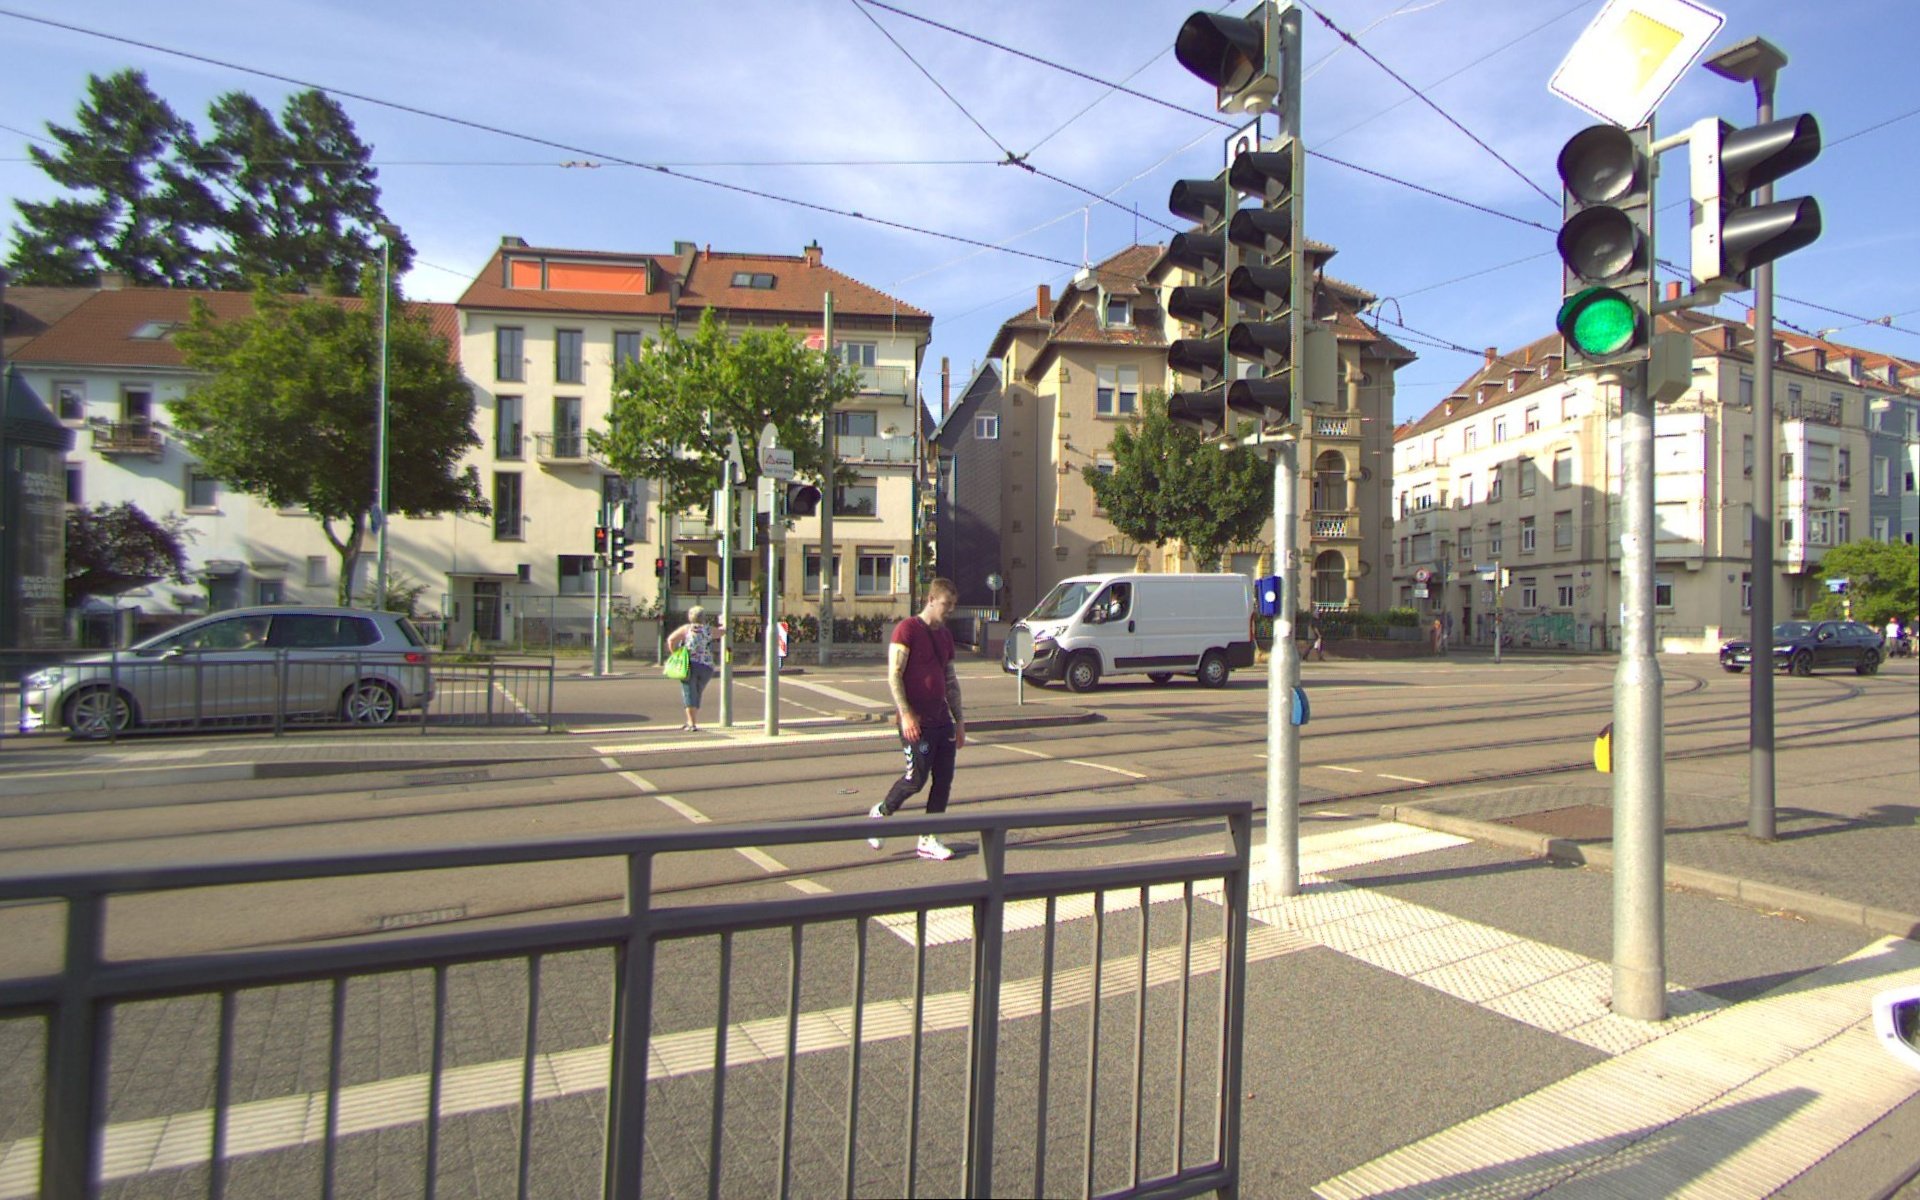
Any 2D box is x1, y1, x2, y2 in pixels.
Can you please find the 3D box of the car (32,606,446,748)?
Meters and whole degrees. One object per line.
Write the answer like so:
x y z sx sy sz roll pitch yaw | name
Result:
-8.933 0.864 12.881 4.077 1.546 1.668 0 -1 -31 | car

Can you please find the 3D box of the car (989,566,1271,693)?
3.361 0.562 19.884 5.177 2.269 2.173 1 -1 -22 | car

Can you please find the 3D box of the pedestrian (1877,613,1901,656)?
40.974 1.519 44.307 0.618 1.906 0.582 1 -1 -27 | pedestrian

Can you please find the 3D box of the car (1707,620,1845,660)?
31.954 1.539 39.484 3.929 1.476 1.797 0 -1 30 | car

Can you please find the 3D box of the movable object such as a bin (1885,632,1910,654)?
41.616 1.923 44.603 0.653 0.959 0.582 1 -1 -21 | movable object such as a bin

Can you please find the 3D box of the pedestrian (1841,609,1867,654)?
38.849 1.366 43.638 0.618 1.906 0.656 1 -1 -26 | pedestrian

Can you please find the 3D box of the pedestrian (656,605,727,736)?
-3.408 0.876 12.756 0.708 1.610 0.586 1 -1 -34 | pedestrian

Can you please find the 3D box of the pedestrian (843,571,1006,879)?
-0.232 0.700 6.075 0.663 1.692 0.877 1 -1 -28 | pedestrian

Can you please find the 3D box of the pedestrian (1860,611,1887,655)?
39.198 1.396 43.105 0.640 1.872 0.672 1 -1 -23 | pedestrian

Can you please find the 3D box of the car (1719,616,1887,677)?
23.409 1.234 27.868 4.679 1.514 1.762 -1 -1 -25 | car

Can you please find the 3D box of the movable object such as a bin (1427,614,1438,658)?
19.139 1.445 40.650 0.259 1.732 2.379 0 -1 28 | movable object such as a bin

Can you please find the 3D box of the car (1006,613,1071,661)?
2.817 1.314 36.941 1.742 1.653 3.997 0 -1 -6 | car

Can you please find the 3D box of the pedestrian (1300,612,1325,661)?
12.119 1.242 34.552 0.592 1.673 0.681 1 -1 -4 | pedestrian

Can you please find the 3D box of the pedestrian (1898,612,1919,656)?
41.423 1.495 43.786 0.618 1.906 0.583 1 -1 -25 | pedestrian

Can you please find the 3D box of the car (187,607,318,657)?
-23.803 1.048 33.973 1.821 1.578 3.998 1 -1 -5 | car

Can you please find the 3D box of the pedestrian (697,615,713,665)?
-7.946 1.251 31.279 0.382 1.536 0.405 1 -1 -4 | pedestrian
